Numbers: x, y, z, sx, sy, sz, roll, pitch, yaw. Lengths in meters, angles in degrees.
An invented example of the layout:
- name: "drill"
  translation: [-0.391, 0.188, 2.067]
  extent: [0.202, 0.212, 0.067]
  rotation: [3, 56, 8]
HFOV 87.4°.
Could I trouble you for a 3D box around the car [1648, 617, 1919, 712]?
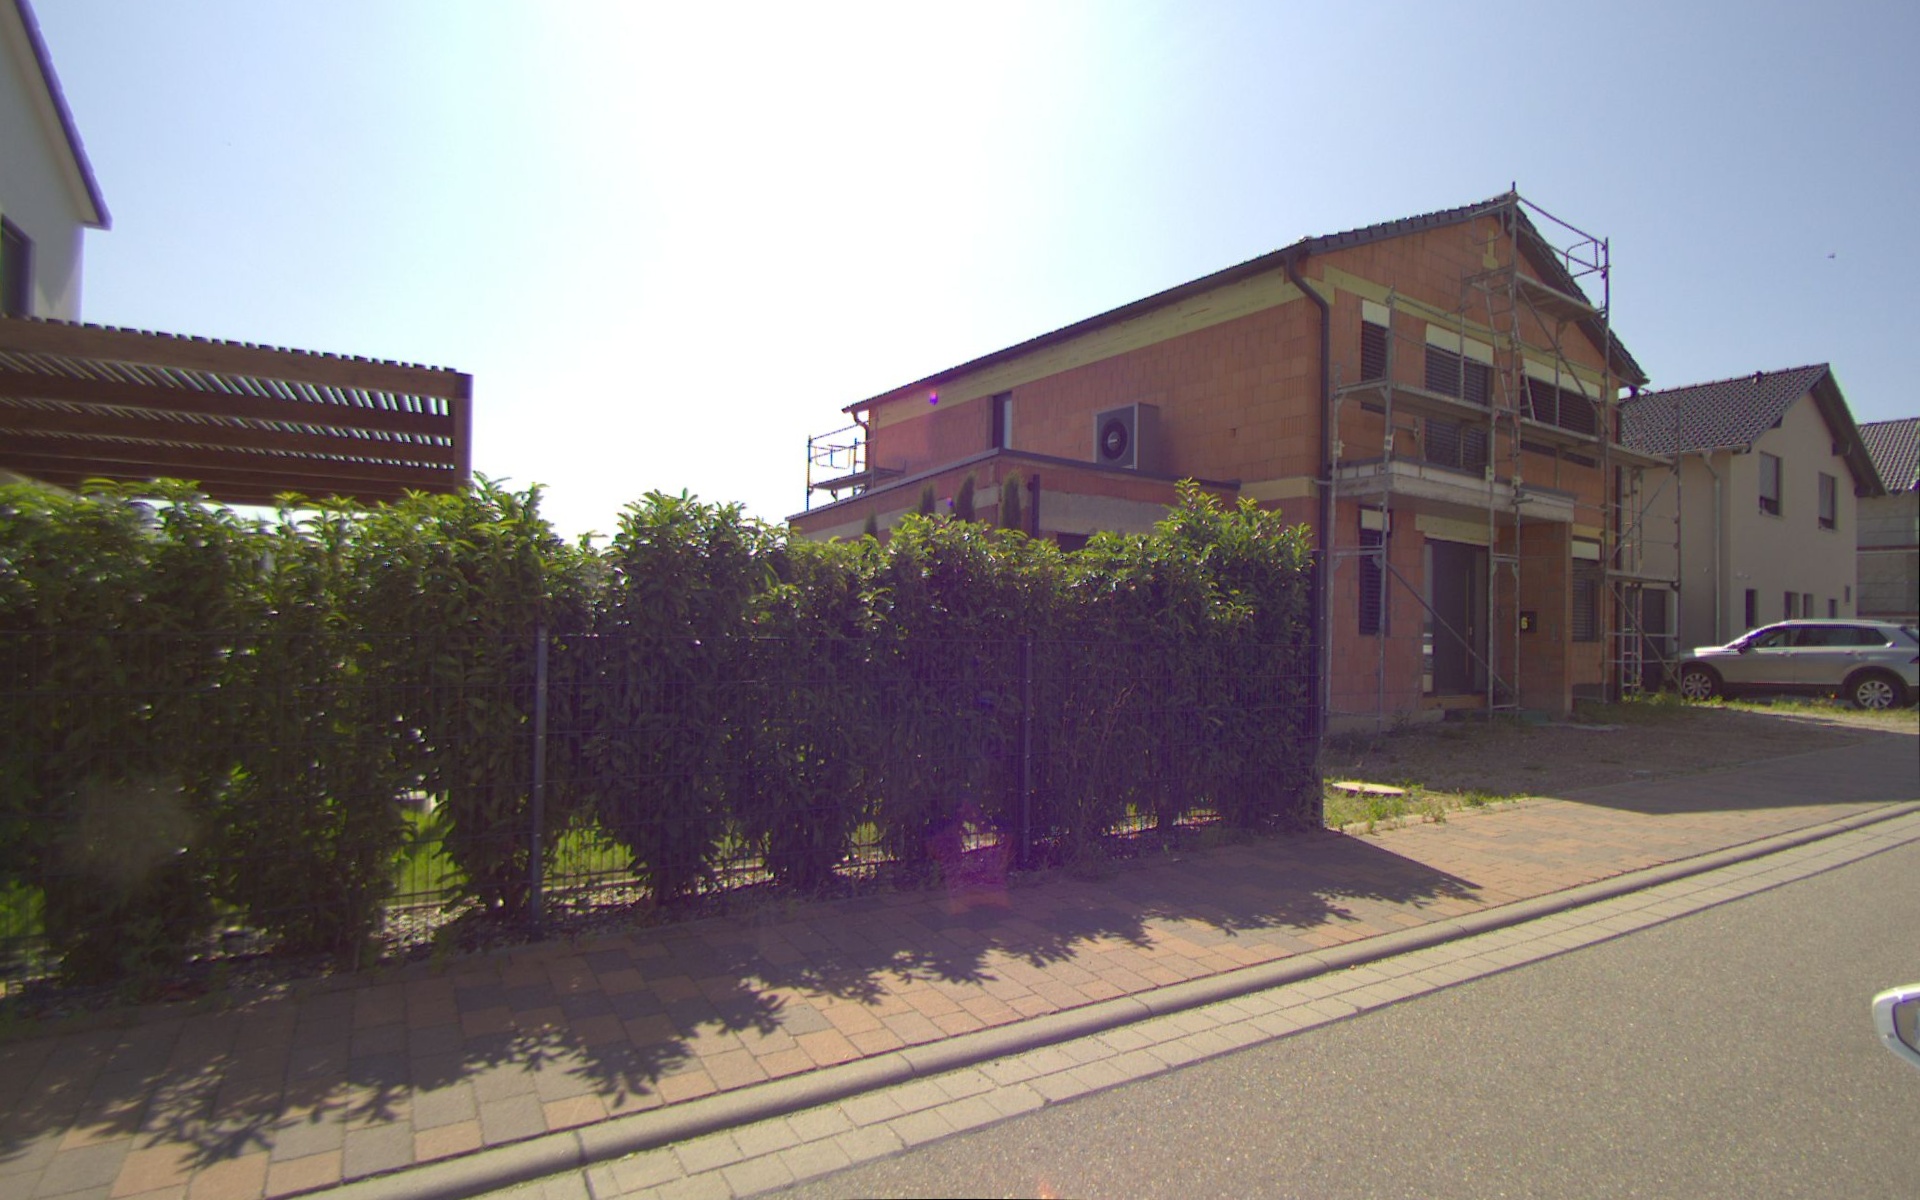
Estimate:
- name: "car"
  translation: [16.225, 1.186, 19.455]
  extent: [1.982, 1.633, 4.392]
  rotation: [2, -2, -38]
